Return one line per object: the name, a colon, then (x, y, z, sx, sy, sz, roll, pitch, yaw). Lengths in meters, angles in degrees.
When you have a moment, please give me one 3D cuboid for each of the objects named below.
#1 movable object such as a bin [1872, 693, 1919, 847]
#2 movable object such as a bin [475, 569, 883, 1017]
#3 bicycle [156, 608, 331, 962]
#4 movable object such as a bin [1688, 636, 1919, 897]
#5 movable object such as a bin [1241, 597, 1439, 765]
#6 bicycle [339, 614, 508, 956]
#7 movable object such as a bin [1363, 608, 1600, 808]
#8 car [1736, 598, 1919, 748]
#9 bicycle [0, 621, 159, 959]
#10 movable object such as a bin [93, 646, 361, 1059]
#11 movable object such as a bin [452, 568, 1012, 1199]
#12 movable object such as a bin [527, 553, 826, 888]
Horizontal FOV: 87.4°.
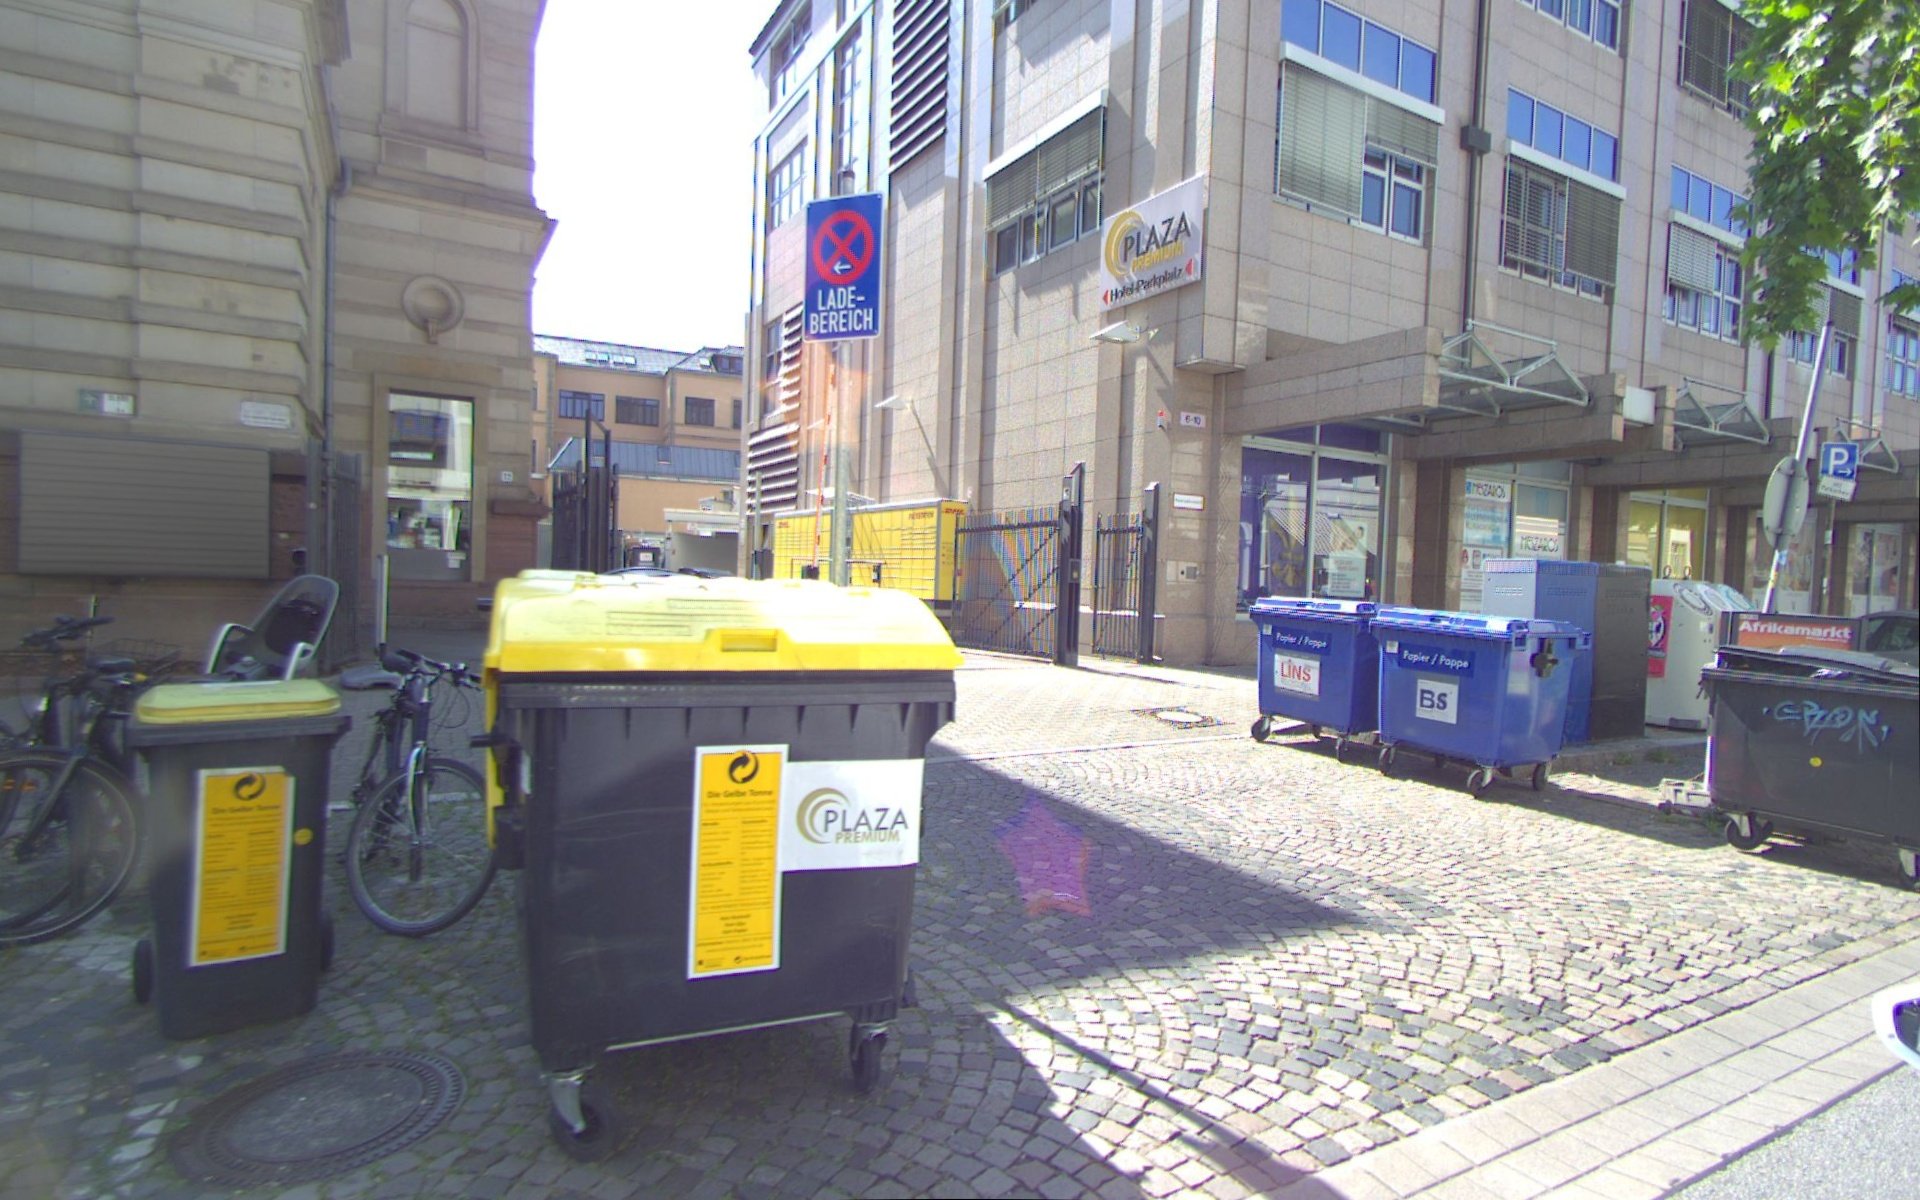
movable object such as a bin: (6.408, 1.107, 6.516, 0.546, 0.952, 0.499, 0, 0, -13)
movable object such as a bin: (-1.186, 0.639, 4.143, 1.418, 1.470, 1.120, 0, 4, -24)
bicycle: (-3.193, 0.686, 4.581, 0.504, 1.135, 1.962, 2, 3, -33)
movable object such as a bin: (5.272, 0.914, 5.952, 0.843, 1.317, 1.271, 1, 2, -29)
movable object such as a bin: (3.407, 0.668, 9.080, 1.114, 1.317, 1.203, 0, 4, -29)
bicycle: (-2.531, 0.698, 4.632, 0.504, 1.135, 1.955, 2, 2, -33)
movable object such as a bin: (4.040, 0.771, 7.843, 1.067, 1.317, 1.203, 0, 4, -29)
car: (11.623, 0.820, 12.138, 1.896, 1.515, 4.059, 2, 2, 11)
bicycle: (-3.937, 0.696, 4.303, 0.551, 1.087, 1.832, 4, 0, -33)
movable object such as a bin: (-2.437, 0.757, 3.377, 0.650, 1.113, 0.717, -1, 4, -37)
movable object such as a bin: (-0.738, 0.666, 3.109, 1.418, 1.470, 1.120, 0, 4, -24)
movable object such as a bin: (-1.531, 0.516, 5.258, 1.345, 1.470, 1.205, 0, 4, -24)
